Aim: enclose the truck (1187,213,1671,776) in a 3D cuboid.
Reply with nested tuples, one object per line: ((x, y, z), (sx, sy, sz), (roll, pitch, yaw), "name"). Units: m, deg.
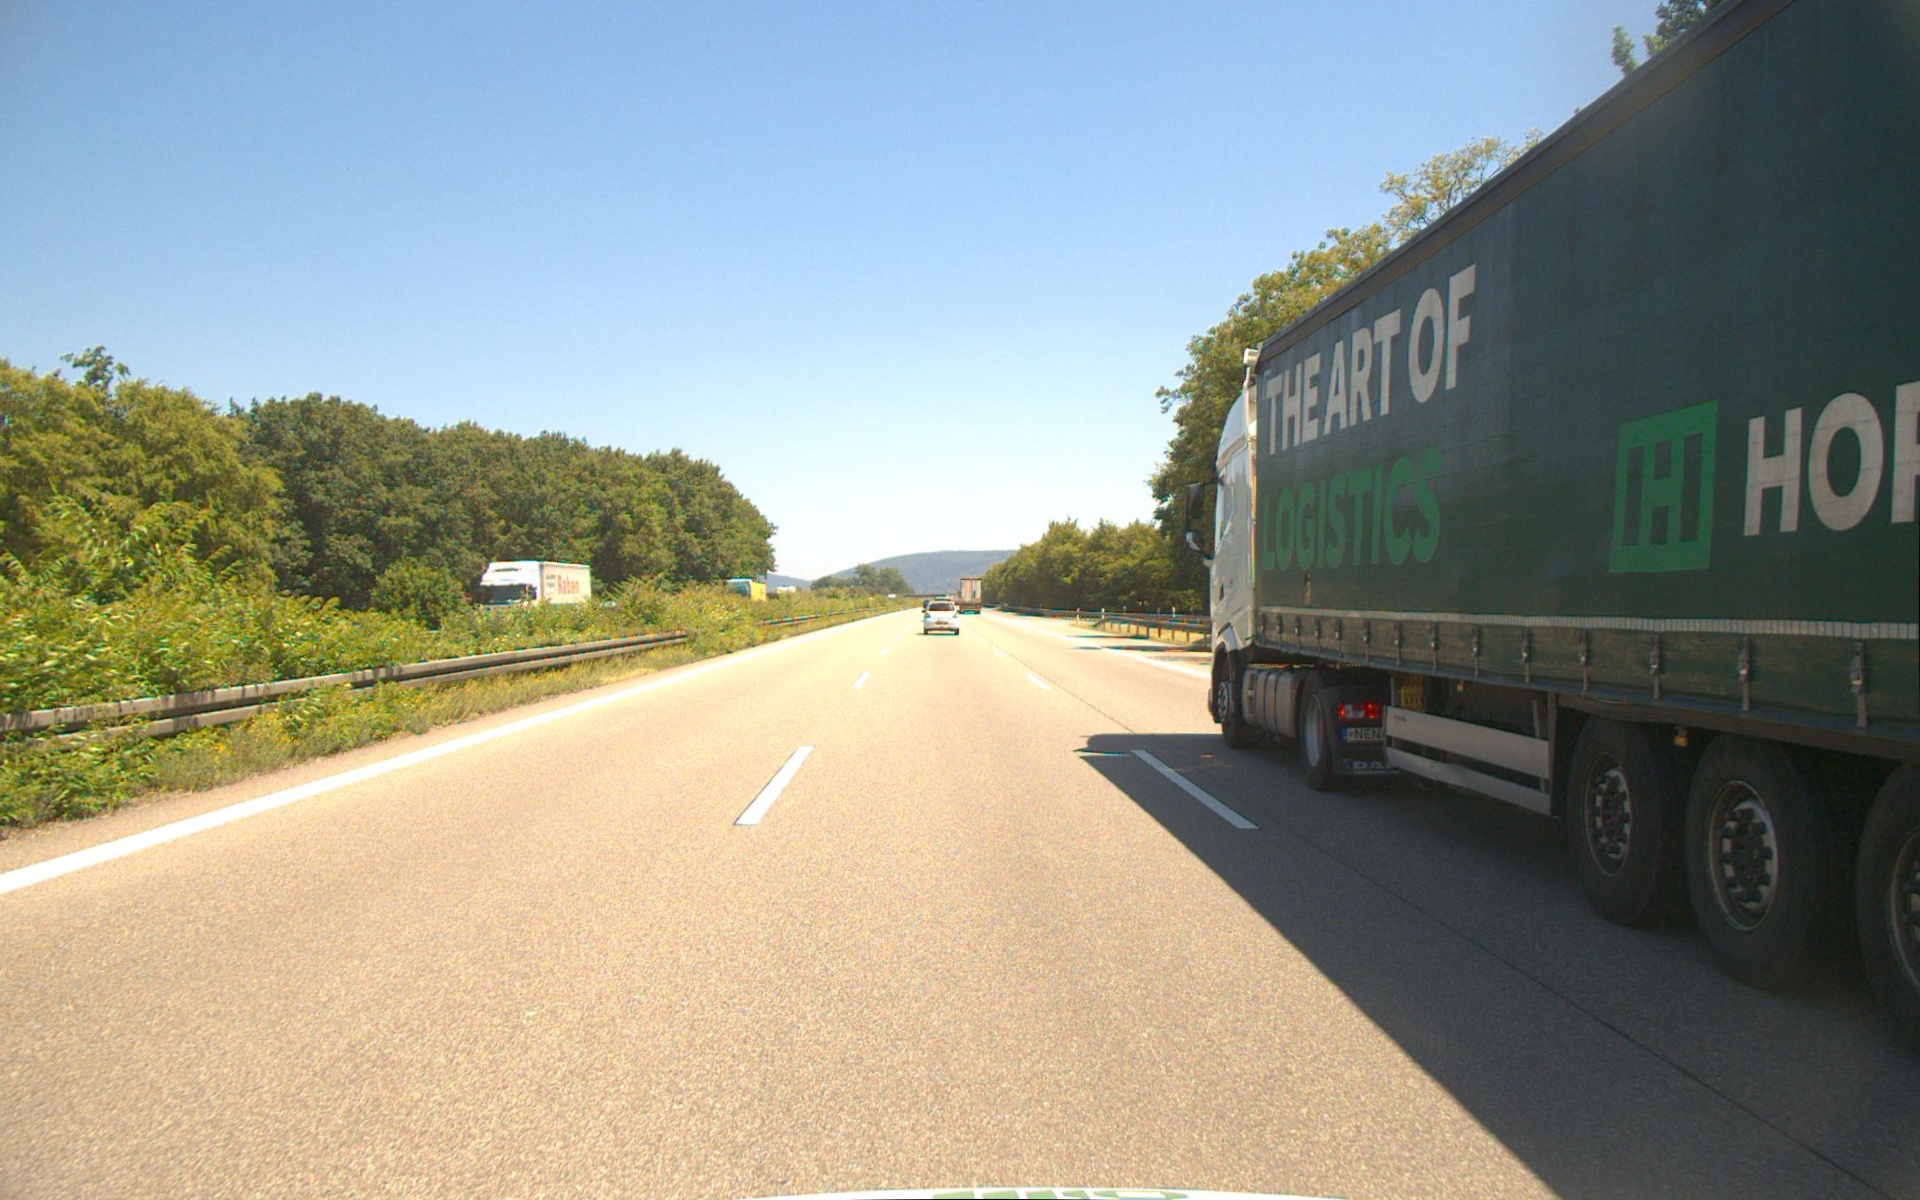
((4.333, -0.880, 16.788), (3.118, 4.688, 5.946), (0, 0, -1), "truck")

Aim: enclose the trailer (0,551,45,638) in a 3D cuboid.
((-44.692, -0.233, 72.645), (2.242, 3.938, 10.712), (-1, 0, 5), "trailer")

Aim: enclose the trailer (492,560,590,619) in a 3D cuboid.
((-21.519, -0.520, 85.621), (2.509, 2.828, 10.948), (0, 0, -1), "trailer")

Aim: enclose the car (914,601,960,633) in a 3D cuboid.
((-1.101, 0.760, 77.004), (1.777, 1.429, 3.311), (0, 0, -8), "car")

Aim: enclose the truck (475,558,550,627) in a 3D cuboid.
((-21.321, -0.359, 78.989), (2.521, 3.199, 4.262), (0, 0, -2), "truck")

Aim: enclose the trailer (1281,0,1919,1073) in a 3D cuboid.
((4.509, -0.867, 8.260), (3.117, 4.708, 12.046), (0, 0, -2), "trailer")

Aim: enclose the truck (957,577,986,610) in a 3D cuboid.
((1.328, -0.825, 200.234), (3.258, 3.822, 12.793), (1, 0, -1), "truck")
